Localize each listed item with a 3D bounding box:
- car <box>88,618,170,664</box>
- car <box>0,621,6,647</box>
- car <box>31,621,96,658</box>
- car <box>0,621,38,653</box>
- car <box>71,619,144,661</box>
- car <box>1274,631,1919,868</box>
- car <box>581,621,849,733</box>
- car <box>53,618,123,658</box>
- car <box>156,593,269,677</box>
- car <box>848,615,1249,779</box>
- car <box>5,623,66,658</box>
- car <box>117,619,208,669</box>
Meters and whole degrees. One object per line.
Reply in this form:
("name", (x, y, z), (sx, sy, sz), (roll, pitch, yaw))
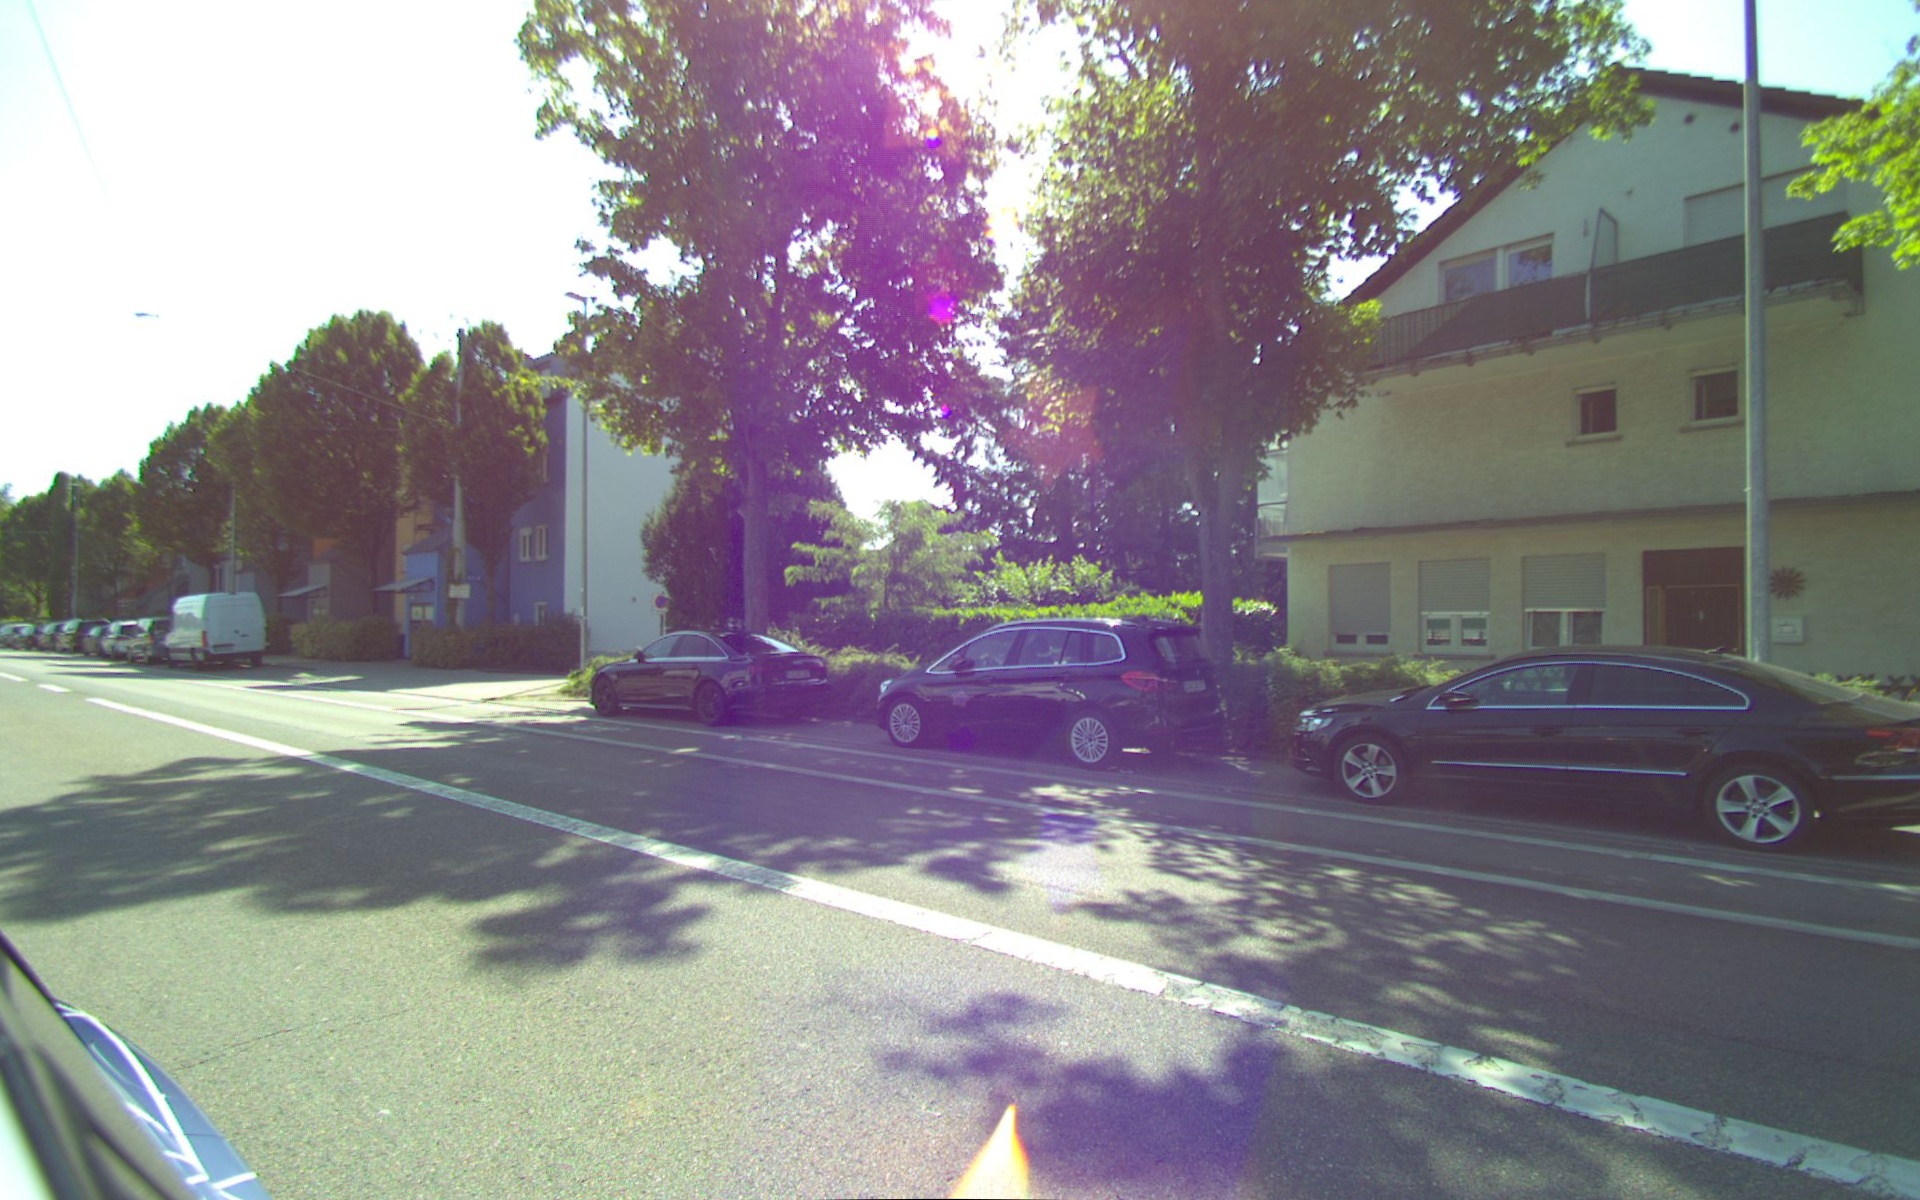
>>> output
("car", (-38.066, 1.871, 46.322), (4.766, 1.818, 1.974), (-2, 4, 41))
("car", (-68.821, 2.485, 71.117), (4.766, 1.818, 1.974), (-2, 4, 41))
("car", (-50.240, 2.187, 56.681), (4.766, 1.818, 1.974), (-2, 4, 41))
("car", (-60.287, 2.351, 64.190), (4.766, 1.818, 1.974), (-2, 4, 41))
("car", (-42.136, 1.945, 49.996), (4.254, 1.818, 1.974), (-2, 4, 41))
("car", (5.204, 1.006, 8.391), (4.619, 1.426, 1.844), (-1, 0, 41))
("car", (-4.089, 1.150, 16.517), (4.616, 1.583, 1.845), (-1, -2, 39))
("car", (-45.788, 1.977, 53.125), (4.766, 1.818, 1.974), (-2, 4, 41))
("car", (-27.381, 1.234, 36.958), (6.213, 2.713, 1.973), (-2, 4, 43))
("car", (0.912, 1.012, 12.235), (4.619, 1.583, 1.844), (-1, 0, 41))
("car", (-54.917, 2.372, 60.101), (4.766, 1.818, 1.974), (-2, 4, 41))
("car", (-33.528, 1.805, 42.506), (4.766, 1.818, 1.974), (-2, 4, 41))
